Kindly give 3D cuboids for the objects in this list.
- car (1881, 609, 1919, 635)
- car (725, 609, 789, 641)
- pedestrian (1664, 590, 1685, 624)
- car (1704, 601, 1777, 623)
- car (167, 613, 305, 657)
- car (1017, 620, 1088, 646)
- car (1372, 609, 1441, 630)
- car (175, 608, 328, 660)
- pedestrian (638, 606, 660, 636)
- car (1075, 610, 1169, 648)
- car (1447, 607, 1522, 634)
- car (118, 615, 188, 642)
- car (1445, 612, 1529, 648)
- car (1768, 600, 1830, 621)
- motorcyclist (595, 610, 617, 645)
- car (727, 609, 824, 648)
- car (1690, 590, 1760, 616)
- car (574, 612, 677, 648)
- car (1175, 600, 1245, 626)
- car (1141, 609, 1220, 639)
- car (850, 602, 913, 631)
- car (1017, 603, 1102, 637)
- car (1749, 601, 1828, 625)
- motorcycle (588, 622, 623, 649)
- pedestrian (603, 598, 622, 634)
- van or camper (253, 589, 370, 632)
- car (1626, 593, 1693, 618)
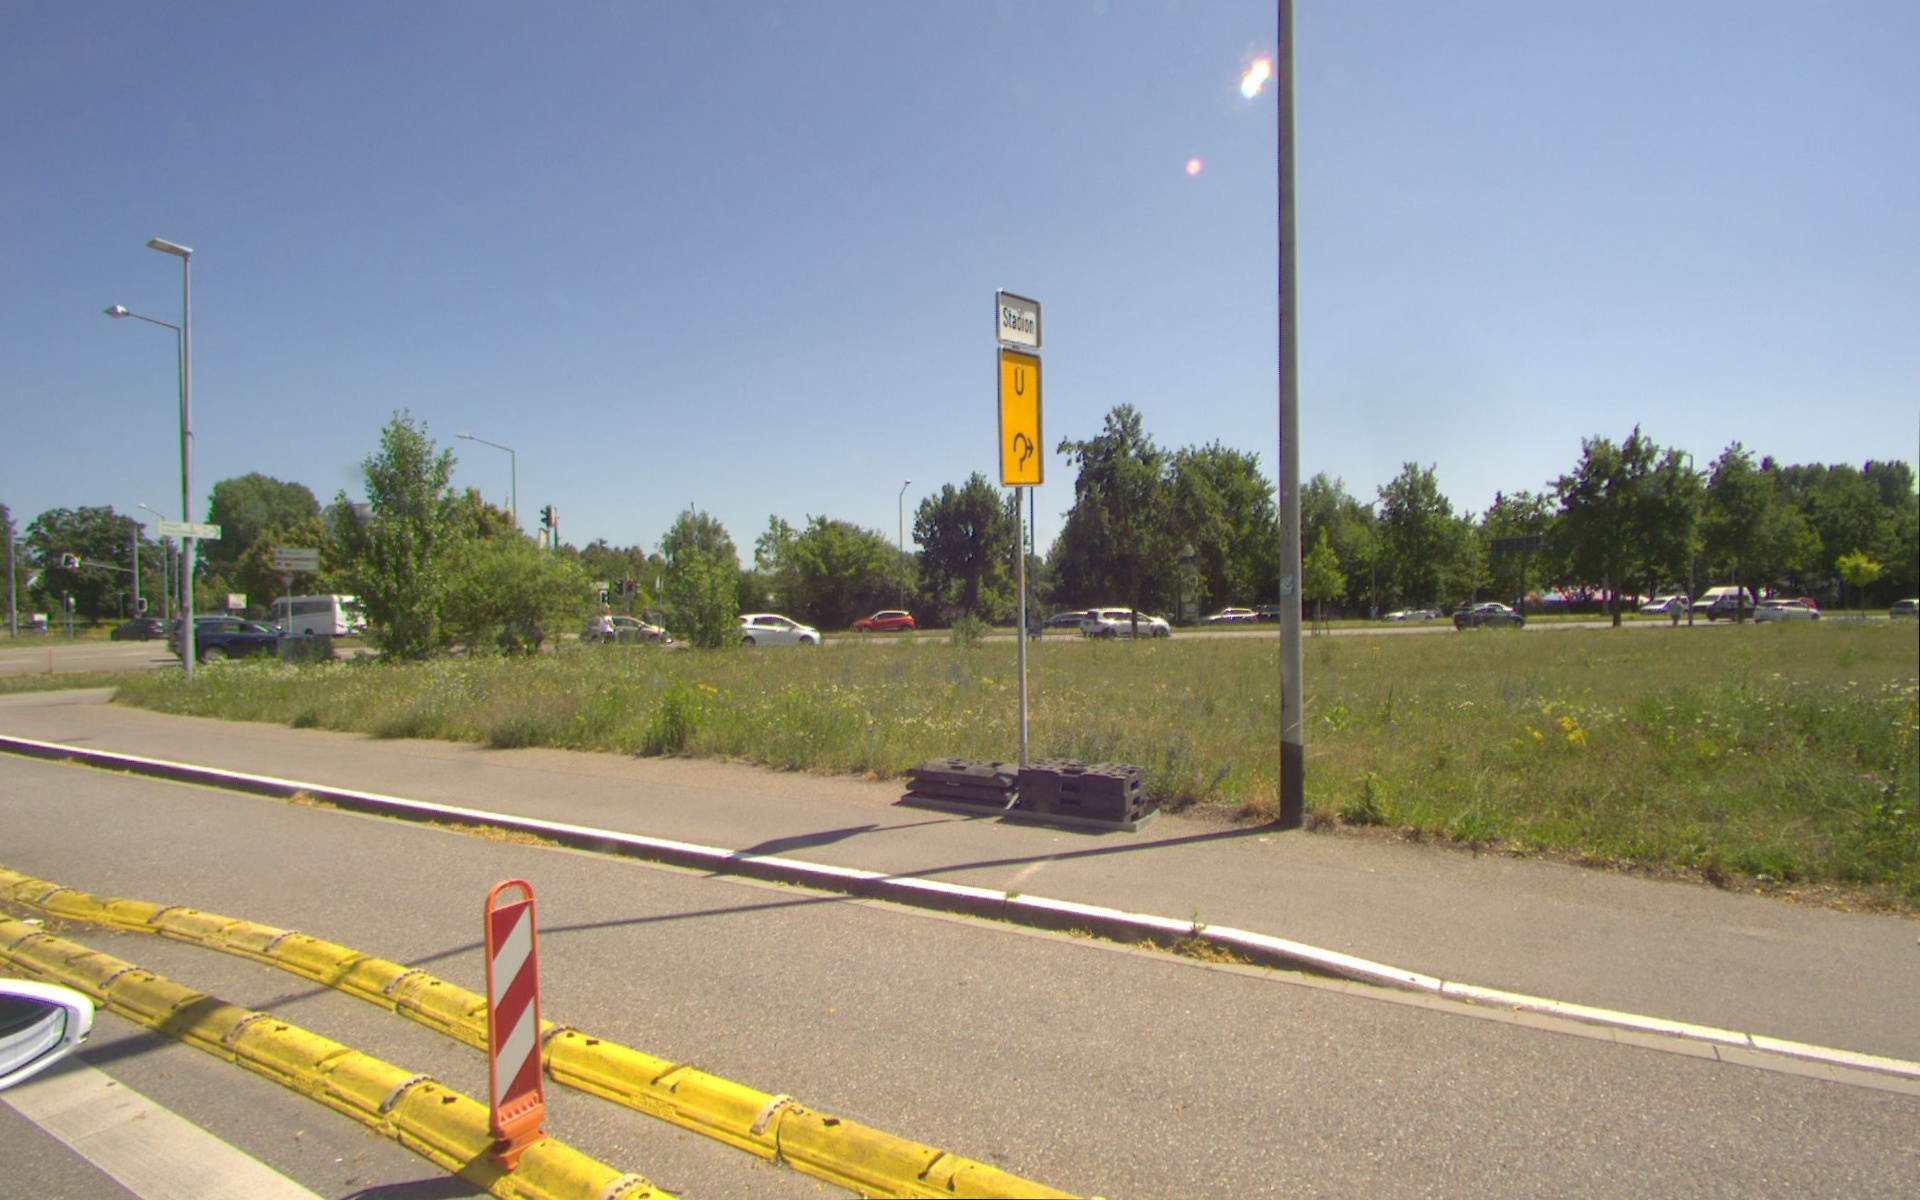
[{"bbox_3d":[63.913,1.453,66.523,4.855,1.727,1.995,0,-1,-20],"label":"car"},{"bbox_3d":[-13.032,1.605,64.356,3.928,2.040,1.997,0,-1,-15],"label":"car"},{"bbox_3d":[34.147,0.331,47.855,0.724,1.583,0.497,0,0,-18],"label":"pedestrian"},{"bbox_3d":[52.310,0.824,67.121,3.931,1.425,1.996,0,-1,-19],"label":"car"},{"bbox_3d":[-26.600,1.258,36.876,3.960,1.515,1.784,1,-2,-43],"label":"car"},{"bbox_3d":[6.406,2.280,69.452,4.607,1.710,1.735,0,-1,-13],"label":"car"},{"bbox_3d":[34.822,1.496,78.125,4.696,1.590,1.997,0,-1,-15],"label":"car"},{"bbox_3d":[-23.737,1.118,33.633,3.974,1.641,1.720,1,-2,-45],"label":"car"},{"bbox_3d":[-16.573,1.112,53.378,0.811,1.583,0.790,-1,-1,35],"label":"pedestrian"},{"bbox_3d":[8.074,1.419,49.866,4.189,1.839,1.996,0,-1,-18],"label":"car"},{"bbox_3d":[39.751,1.542,75.934,4.993,2.040,1.997,0,-1,-15],"label":"car"},{"bbox_3d":[-48.825,1.725,60.603,3.167,1.627,1.650,0,-1,11],"label":"car"},{"bbox_3d":[30.460,1.743,57.908,3.925,2.040,1.999,0,-1,-11],"label":"car"},{"bbox_3d":[73.574,0.935,87.808,4.522,1.874,1.997,0,-1,-16],"label":"car"},{"bbox_3d":[-13.170,1.027,37.238,0.570,1.306,0.615,0,-1,3],"label":"motorcyclist"},{"bbox_3d":[-8.099,1.237,43.981,3.947,1.641,1.675,0,-1,-23],"label":"car"},{"bbox_3d":[63.485,0.265,83.113,4.993,2.040,1.997,0,-1,-15],"label":"car"},{"bbox_3d":[-15.066,1.333,45.162,4.199,1.543,1.814,0,-1,-28],"label":"car"},{"bbox_3d":[17.340,0.896,69.450,4.298,1.739,1.998,0,-1,-13],"label":"car"},{"bbox_3d":[12.241,1.338,55.669,3.928,1.605,1.837,0,-1,-15],"label":"car"},{"bbox_3d":[-4.975,1.049,63.082,3.690,1.739,1.998,0,-1,-13],"label":"car"},{"bbox_3d":[5.420,1.089,54.532,4.189,1.839,1.996,0,-1,-18],"label":"car"},{"bbox_3d":[51.447,0.806,62.201,3.946,1.463,1.632,0,-1,-11],"label":"car"},{"bbox_3d":[-13.144,1.317,37.193,0.619,0.982,1.709,0,-1,3],"label":"motorcycle"},{"bbox_3d":[-18.391,0.835,52.931,0.726,1.894,0.648,-1,-1,34],"label":"pedestrian"},{"bbox_3d":[-43.675,0.742,67.451,7.377,2.728,2.510,-1,-1,17],"label":"van or camper"},{"bbox_3d":[60.193,0.501,86.154,4.993,2.040,1.997,0,-1,-15],"label":"car"}]
